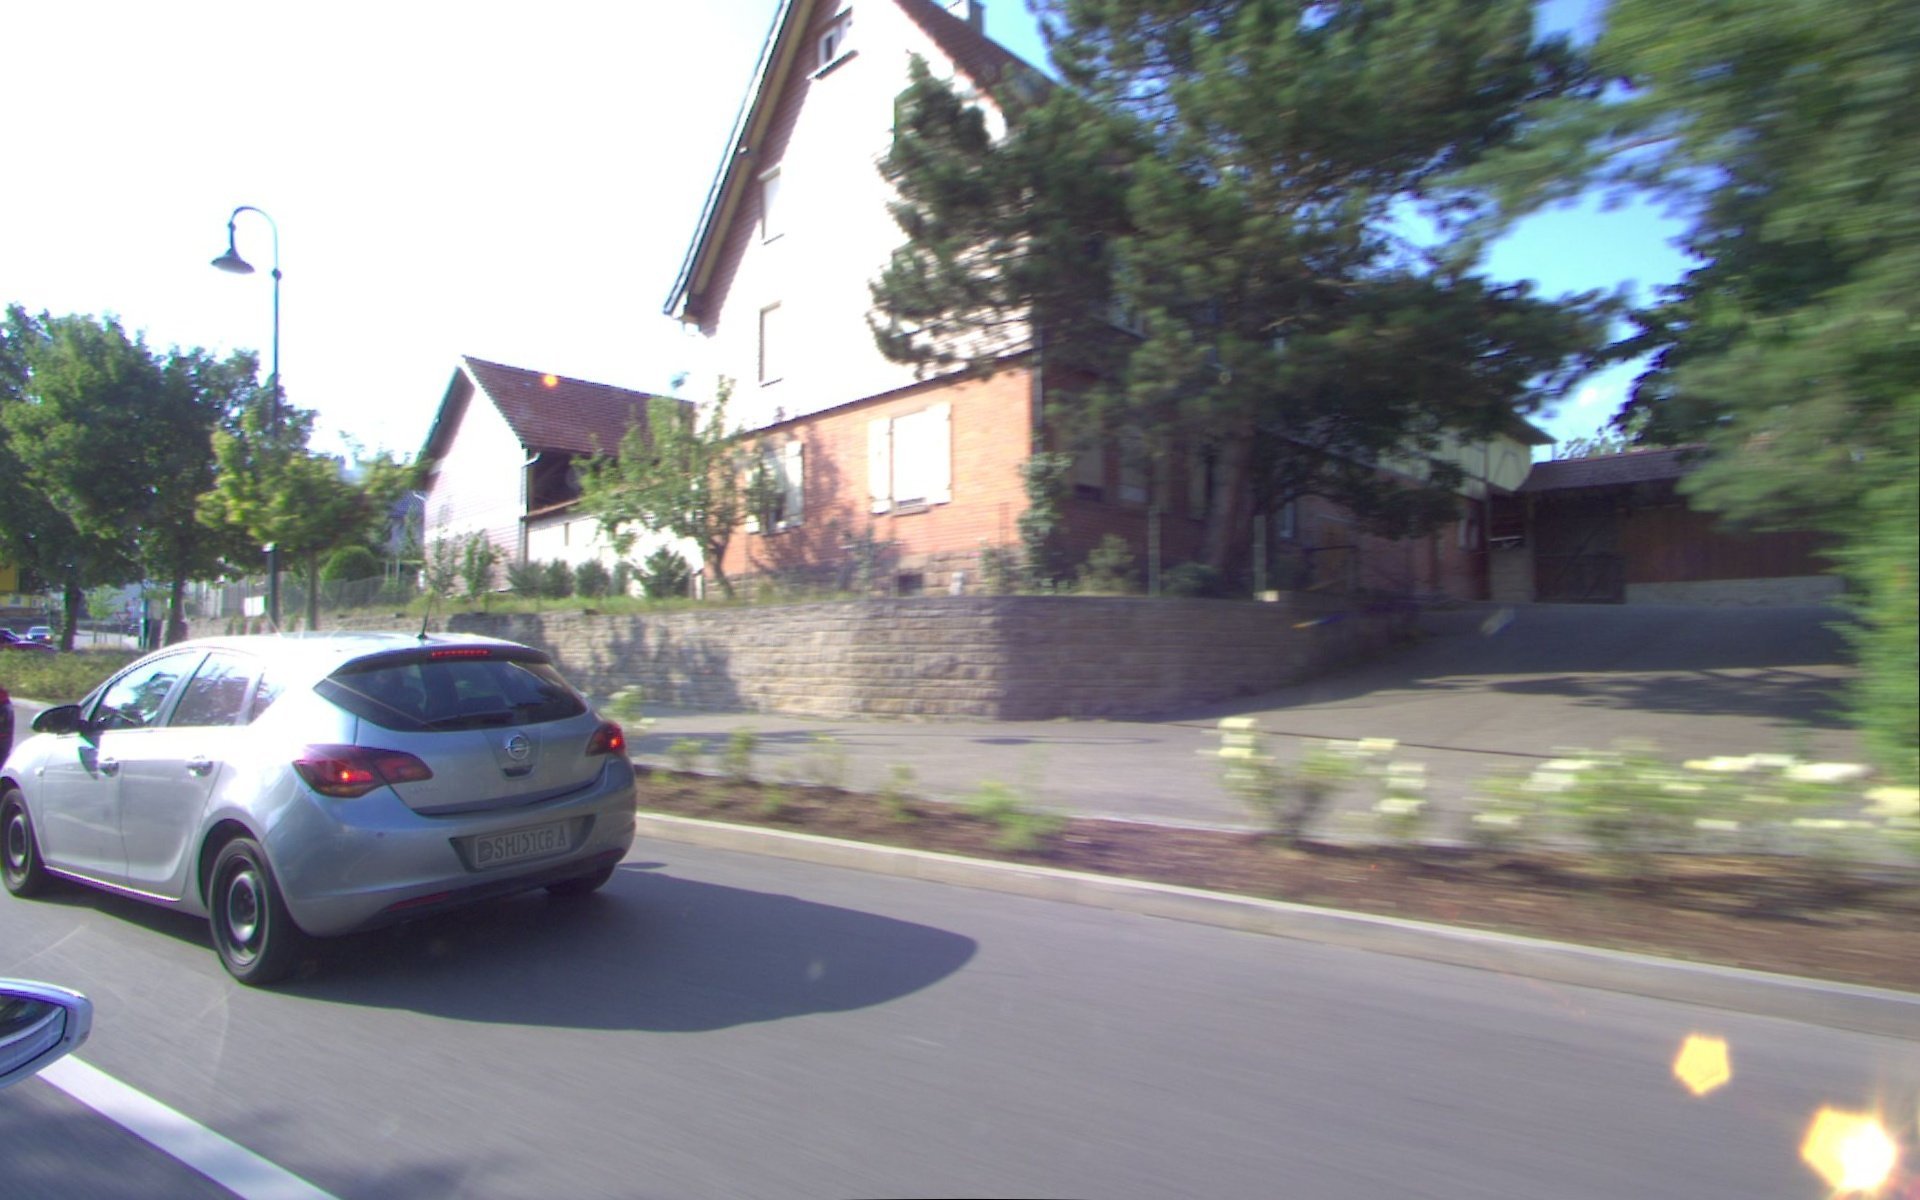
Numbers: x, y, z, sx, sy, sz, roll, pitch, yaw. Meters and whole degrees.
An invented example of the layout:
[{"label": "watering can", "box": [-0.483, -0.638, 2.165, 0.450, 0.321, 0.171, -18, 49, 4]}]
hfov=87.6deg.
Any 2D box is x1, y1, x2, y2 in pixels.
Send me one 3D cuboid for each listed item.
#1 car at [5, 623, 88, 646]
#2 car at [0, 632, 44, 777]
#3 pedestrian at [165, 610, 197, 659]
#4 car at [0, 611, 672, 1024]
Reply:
[{"label": "car", "box": [-74.937, 2.789, 82.207, 1.968, 1.852, 4.630, 0, -1, 27]}, {"label": "car", "box": [-11.277, 1.015, 10.057, 4.289, 1.382, 1.918, -1, -1, 31]}, {"label": "pedestrian", "box": [-27.511, 1.209, 35.367, 0.938, 1.725, 0.693, 0, -1, 38]}, {"label": "car", "box": [-3.742, 0.833, 5.549, 4.243, 1.510, 1.718, 0, -1, 31]}]
